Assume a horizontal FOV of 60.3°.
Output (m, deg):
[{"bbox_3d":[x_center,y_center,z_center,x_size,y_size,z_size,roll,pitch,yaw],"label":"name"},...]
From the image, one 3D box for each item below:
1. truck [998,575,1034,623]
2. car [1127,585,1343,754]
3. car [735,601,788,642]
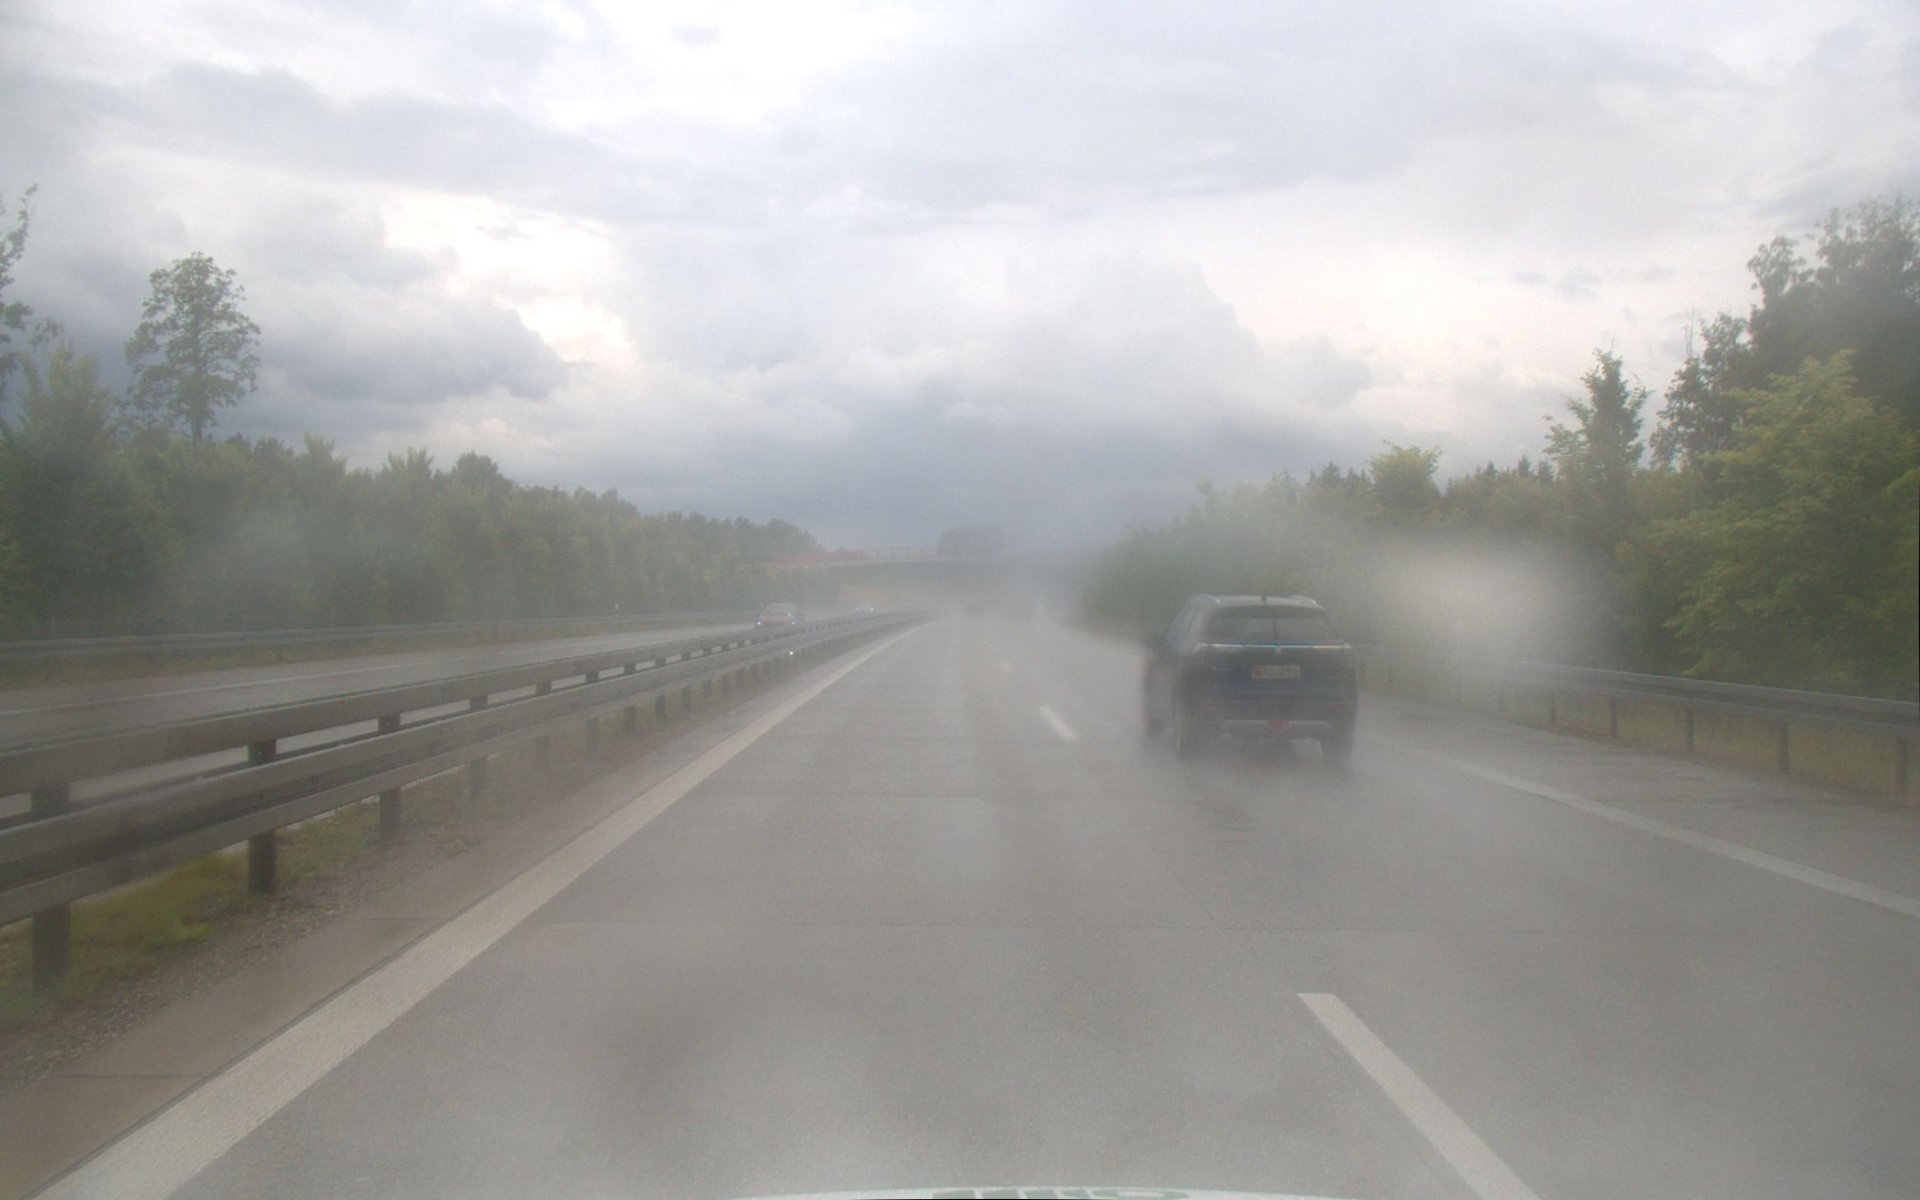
[{"bbox_3d":[5.290,-0.103,158.105,3.177,4.514,8.246,0,0,0],"label":"truck"},{"bbox_3d":[2.846,0.682,17.843,1.854,1.603,3.633,1,0,3],"label":"car"},{"bbox_3d":[-8.031,0.853,67.271,1.728,1.489,3.846,-2,1,-1],"label":"car"}]
